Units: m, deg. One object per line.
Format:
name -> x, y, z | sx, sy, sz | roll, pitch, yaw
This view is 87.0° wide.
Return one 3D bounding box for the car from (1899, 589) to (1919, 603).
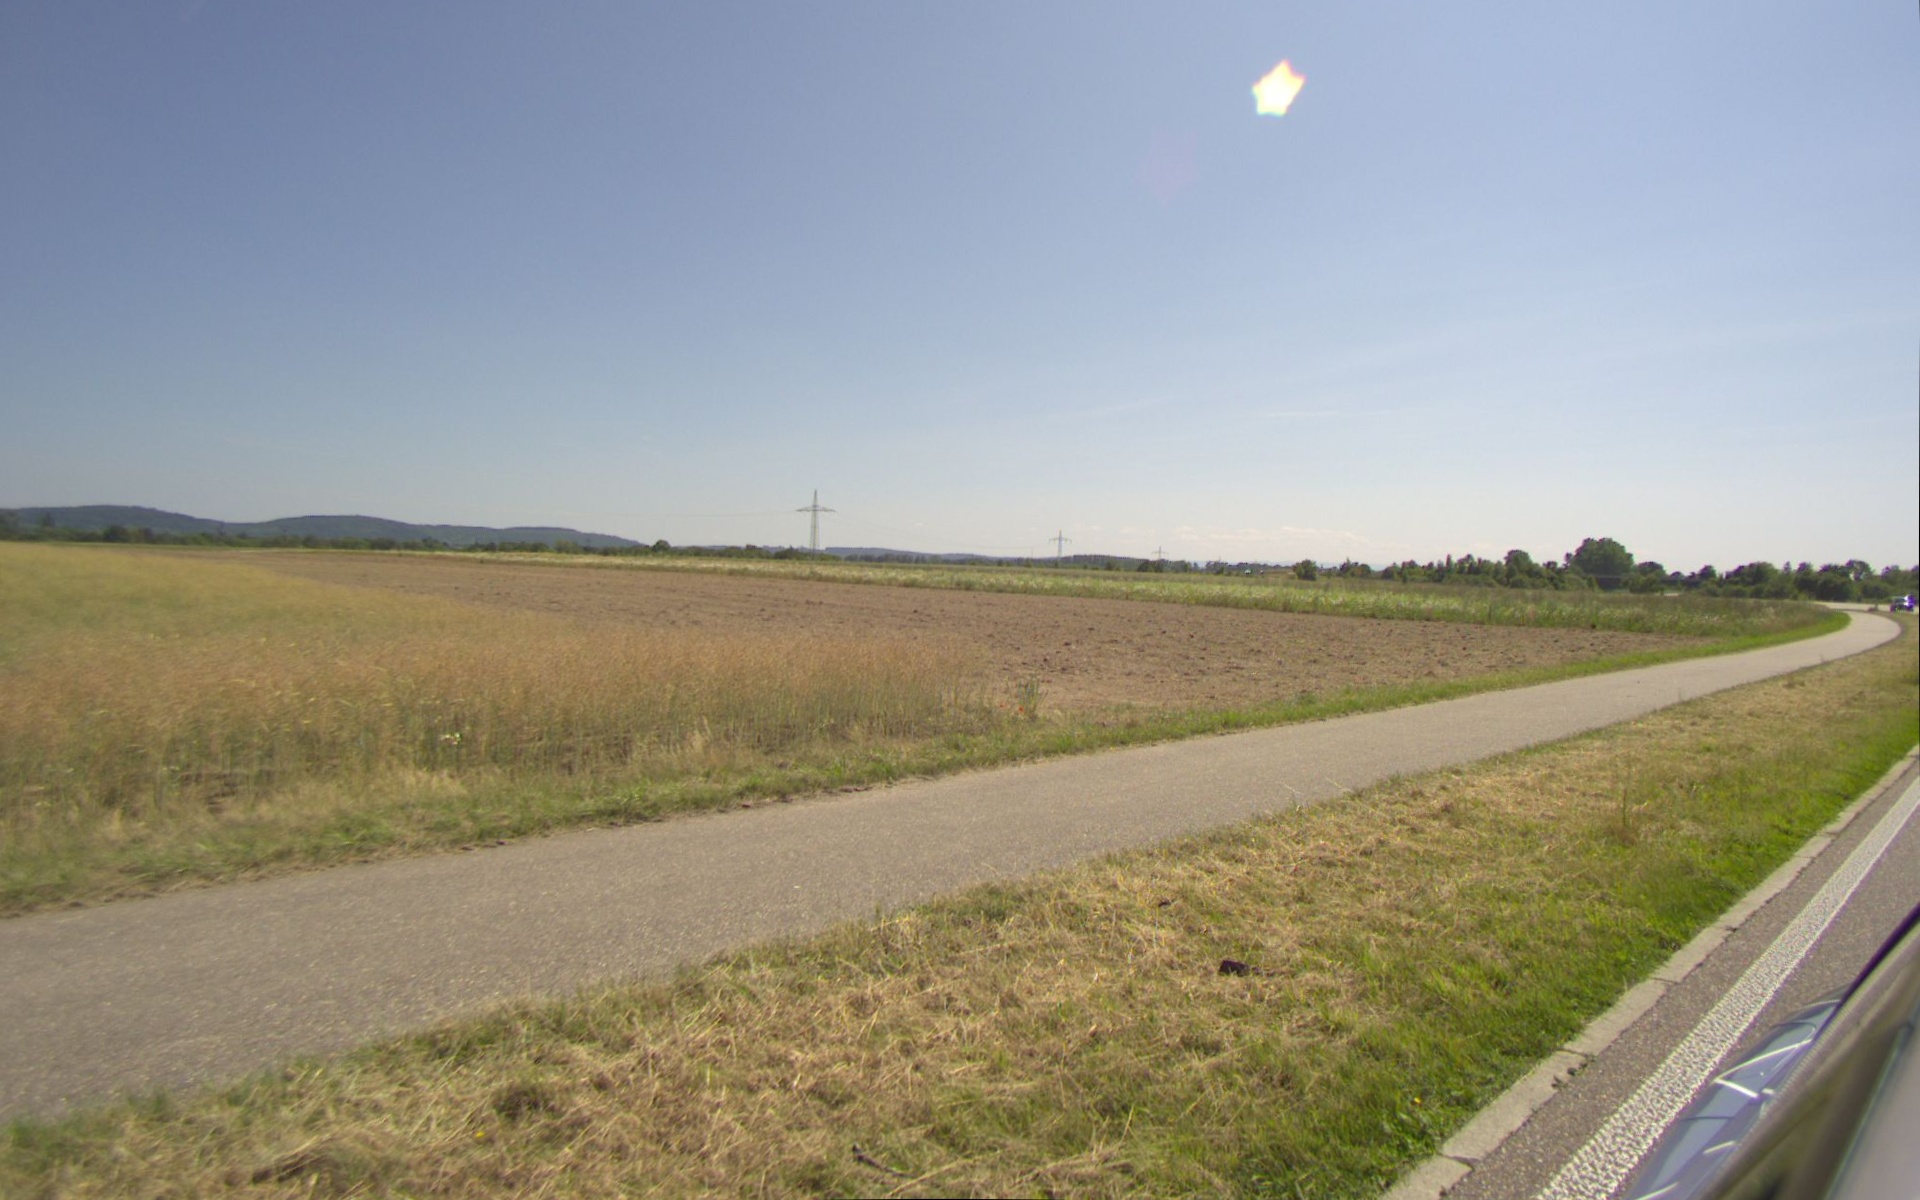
car -> 112.860, -0.437, 119.761 | 1.974, 1.616, 5.328 | 1, 1, 38
